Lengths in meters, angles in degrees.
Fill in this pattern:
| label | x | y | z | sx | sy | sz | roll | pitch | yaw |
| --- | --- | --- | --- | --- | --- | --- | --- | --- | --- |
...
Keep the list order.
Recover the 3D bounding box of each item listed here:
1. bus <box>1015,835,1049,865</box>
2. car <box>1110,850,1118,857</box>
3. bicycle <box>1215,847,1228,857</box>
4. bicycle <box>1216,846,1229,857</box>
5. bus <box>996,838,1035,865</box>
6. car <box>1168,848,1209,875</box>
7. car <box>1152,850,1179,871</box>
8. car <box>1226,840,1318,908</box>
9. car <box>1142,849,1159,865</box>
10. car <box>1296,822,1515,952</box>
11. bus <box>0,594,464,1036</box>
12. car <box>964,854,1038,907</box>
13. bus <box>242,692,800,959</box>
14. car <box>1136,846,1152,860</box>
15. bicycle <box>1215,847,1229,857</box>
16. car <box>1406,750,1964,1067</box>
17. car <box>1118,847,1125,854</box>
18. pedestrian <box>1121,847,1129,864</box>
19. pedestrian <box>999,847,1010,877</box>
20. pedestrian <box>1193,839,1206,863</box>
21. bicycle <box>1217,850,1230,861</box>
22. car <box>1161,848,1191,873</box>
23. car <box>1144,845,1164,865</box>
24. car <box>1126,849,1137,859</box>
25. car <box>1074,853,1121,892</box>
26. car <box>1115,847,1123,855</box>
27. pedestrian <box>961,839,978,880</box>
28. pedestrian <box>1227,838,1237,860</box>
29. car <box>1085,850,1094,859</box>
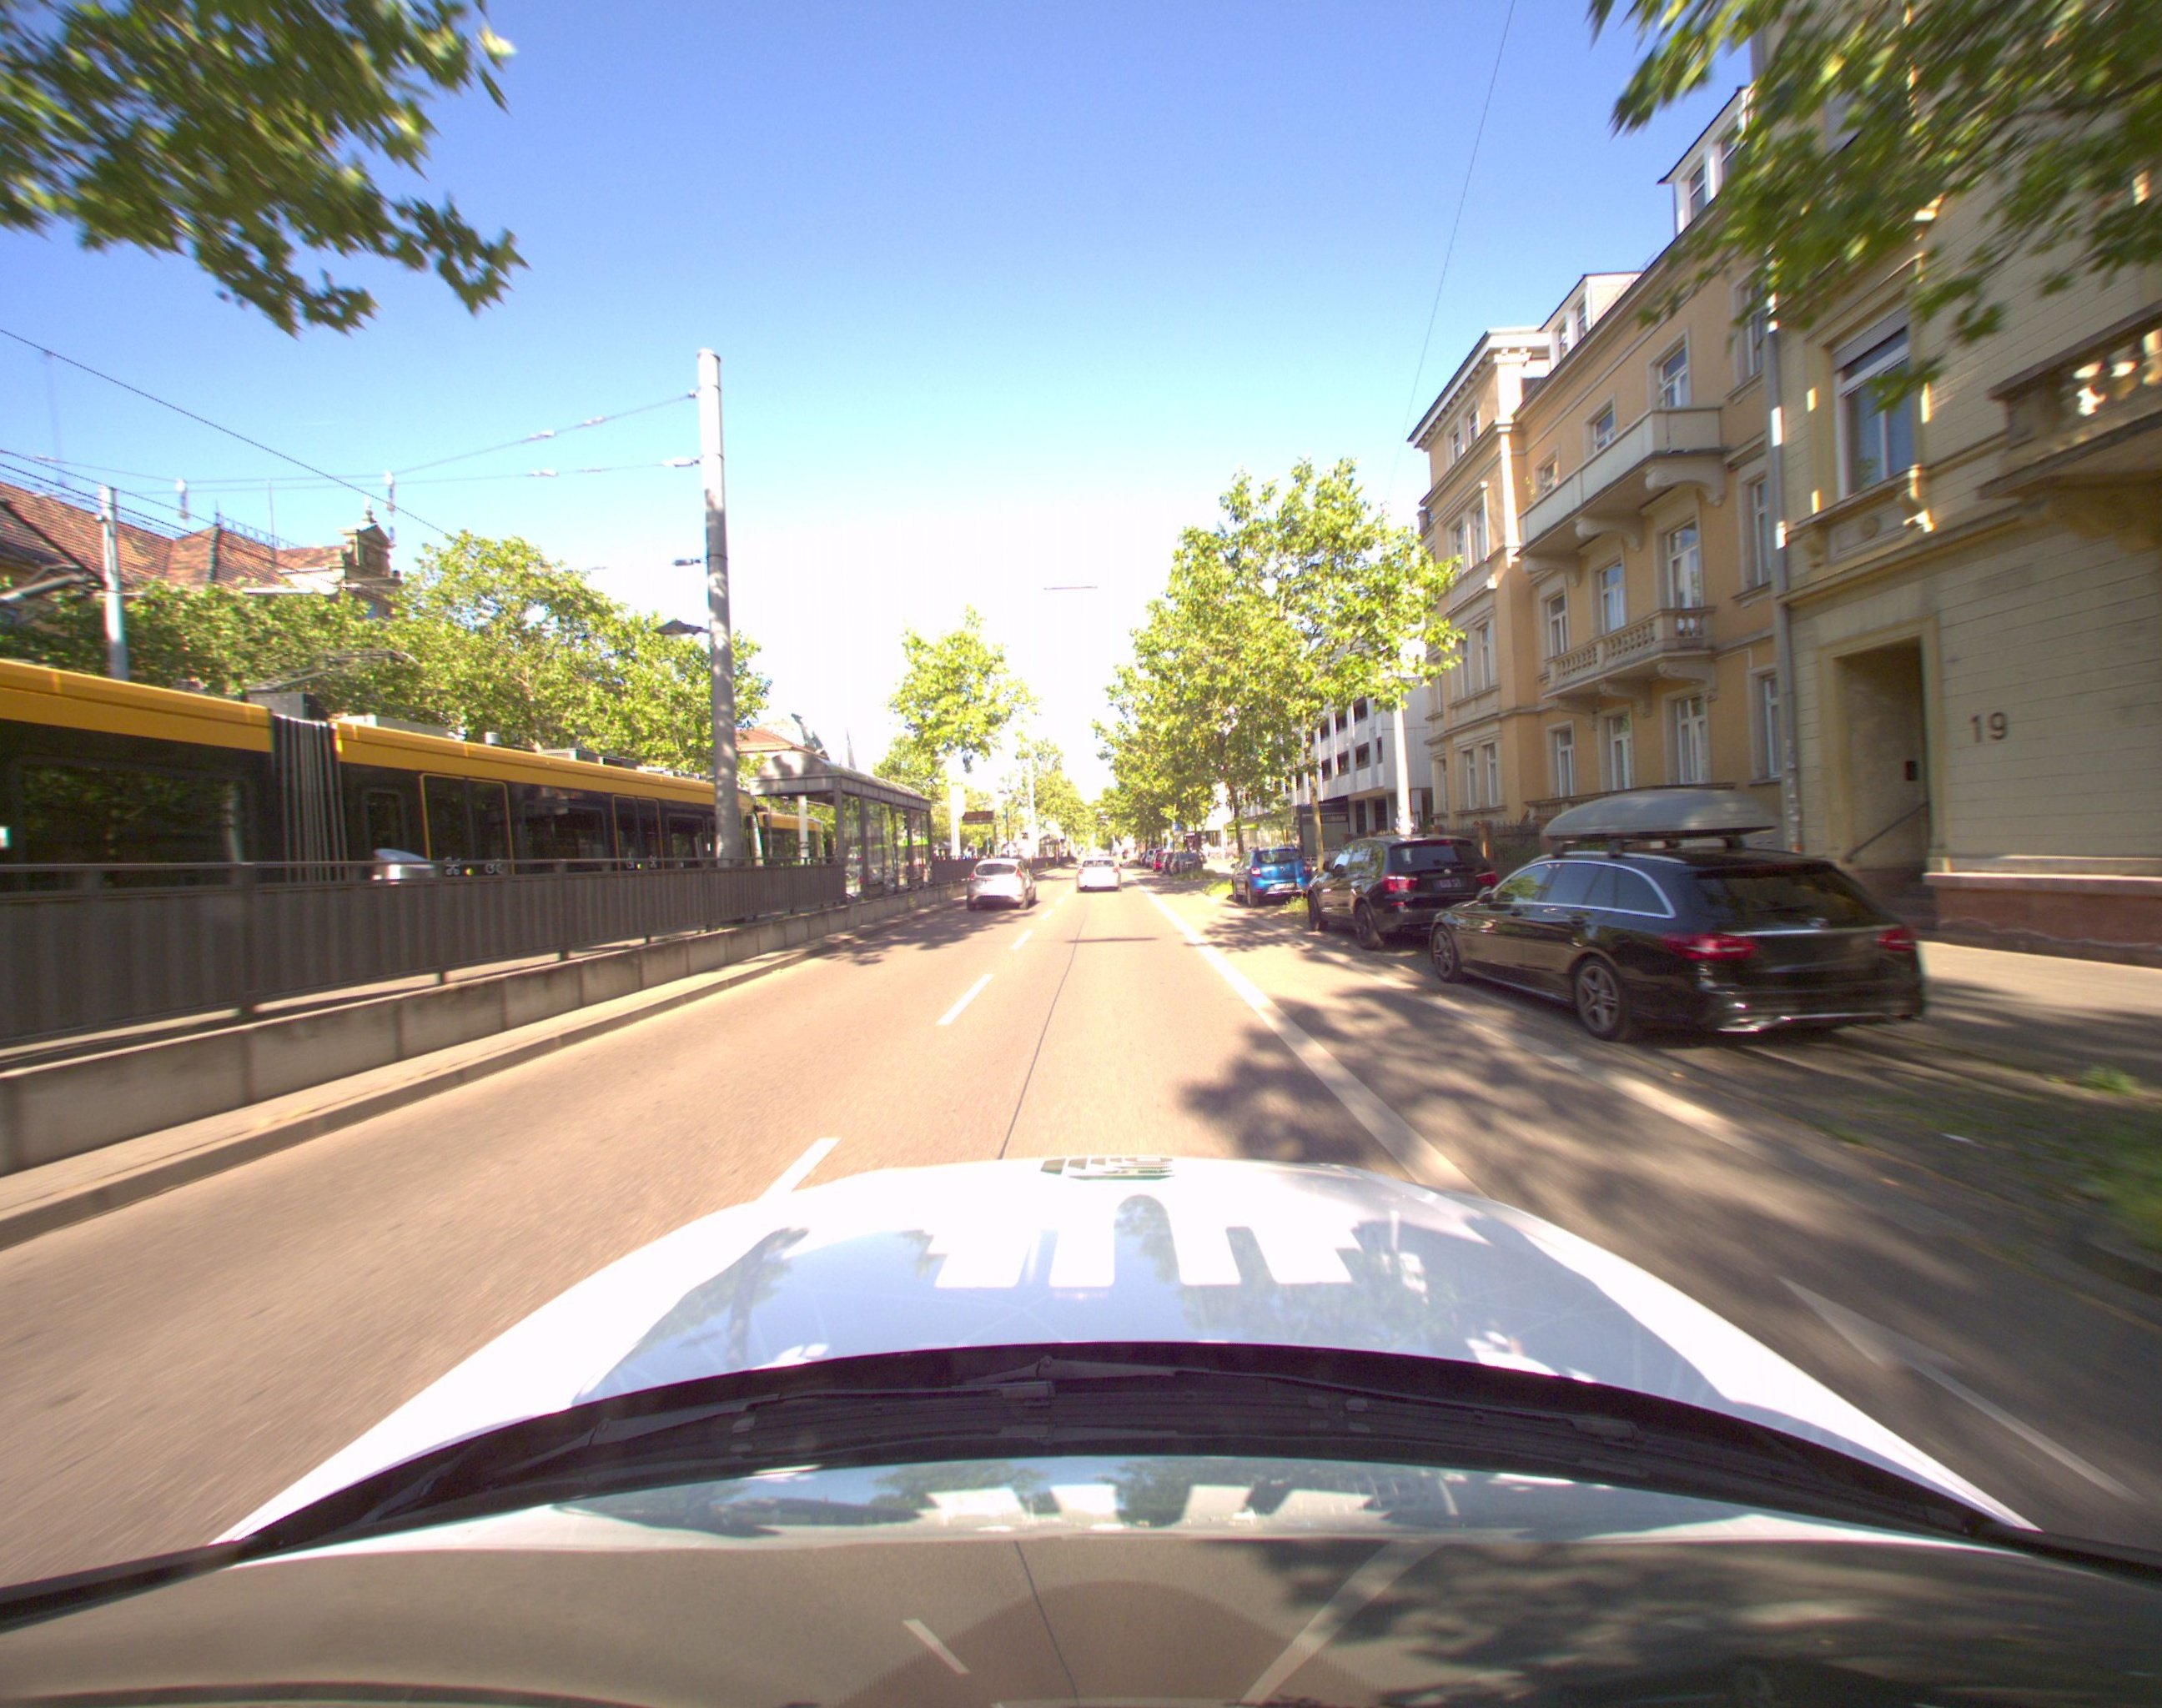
| label | x | y | z | sx | sy | sz | roll | pitch | yaw |
| --- | --- | --- | --- | --- | --- | --- | --- | --- | --- |
| bus | -6.541 | -0.652 | 111.747 | 2.739 | 3.625 | 18.858 | -2 | 1 | 2 |
| car | 9.159 | -0.155 | 225.803 | 2.063 | 2.013 | 4.002 | -2 | 0 | 2 |
| bicycle | 15.177 | -0.206 | 87.939 | 1.378 | 1.058 | 0.243 | -1 | 1 | 1 |
| bicycle | 15.184 | -0.233 | 87.283 | 1.378 | 1.148 | 0.243 | -1 | 1 | 1 |
| bus | -9.786 | -0.529 | 124.544 | 2.858 | 3.628 | 24.618 | -2 | 1 | 2 |
| car | 6.404 | 0.430 | 48.891 | 1.986 | 1.509 | 4.600 | -1 | 0 | 2 |
| car | 6.614 | 0.500 | 64.180 | 1.799 | 1.520 | 4.002 | -1 | 0 | 2 |
| car | 5.261 | 0.480 | 22.939 | 1.685 | 1.658 | 4.041 | -3 | 1 | 2 |
| car | 7.552 | 0.309 | 88.855 | 1.704 | 1.563 | 4.003 | -1 | 1 | 2 |
| car | 5.022 | 0.442 | 13.411 | 1.791 | 1.700 | 4.739 | -2 | 0 | 2 |
| bus | -9.902 | -0.234 | 4.687 | 2.858 | 3.443 | 12.222 | -2 | 1 | 2 |
| car | -2.279 | 0.719 | 23.949 | 1.640 | 1.362 | 3.762 | -1 | 1 | 2 |
| bus | -9.447 | -0.460 | 16.630 | 2.858 | 3.443 | 11.618 | -2 | 1 | 2 |
| car | 7.422 | -0.093 | 96.239 | 1.694 | 1.534 | 3.719 | -1 | 1 | 2 |
| bicycle | 15.174 | -0.195 | 87.608 | 1.378 | 1.055 | 0.243 | -1 | 1 | 1 |
| car | 4.807 | 0.314 | 7.576 | 1.748 | 1.964 | 4.739 | -2 | 1 | 2 |
| car | 11.681 | -1.074 | 236.522 | 1.868 | 2.013 | 3.713 | -1 | 1 | 2 |
| pedestrian | 5.243 | 0.176 | 97.415 | 0.833 | 2.013 | 0.650 | -1 | 1 | 9 |
| pedestrian | -5.084 | 0.551 | 54.050 | 0.636 | 1.954 | 0.814 | -1 | 1 | 2 |
| pedestrian | 10.329 | -0.238 | 71.284 | 0.960 | 2.013 | 0.939 | -2 | 0 | 2 |
| bicycle | 15.190 | 0.177 | 86.959 | 1.378 | 1.148 | 0.243 | -1 | 1 | 1 |
| car | 6.292 | 0.417 | 54.077 | 1.663 | 1.551 | 4.003 | -1 | 1 | 2 |
| car | 7.138 | 0.087 | 79.867 | 1.718 | 1.880 | 4.002 | -1 | 0 | 2 |
| car | 10.533 | 0.024 | 170.062 | 1.986 | 2.013 | 4.003 | -1 | 1 | 2 |
| car | 0.693 | 0.696 | 33.280 | 1.756 | 1.432 | 4.001 | -2 | 0 | 1 |
| car | 9.887 | -0.703 | 213.252 | 1.986 | 2.013 | 4.002 | -2 | 0 | 2 |
| pedestrian | -5.381 | 0.275 | 39.370 | 0.636 | 1.954 | 0.814 | -1 | 1 | 2 |
| pedestrian | 13.961 | -0.450 | 75.245 | 0.785 | 2.013 | 0.891 | -2 | 0 | 2 |
| car | 1.954 | 0.043 | 189.549 | 1.986 | 2.013 | 4.003 | -1 | 1 | 2 |
